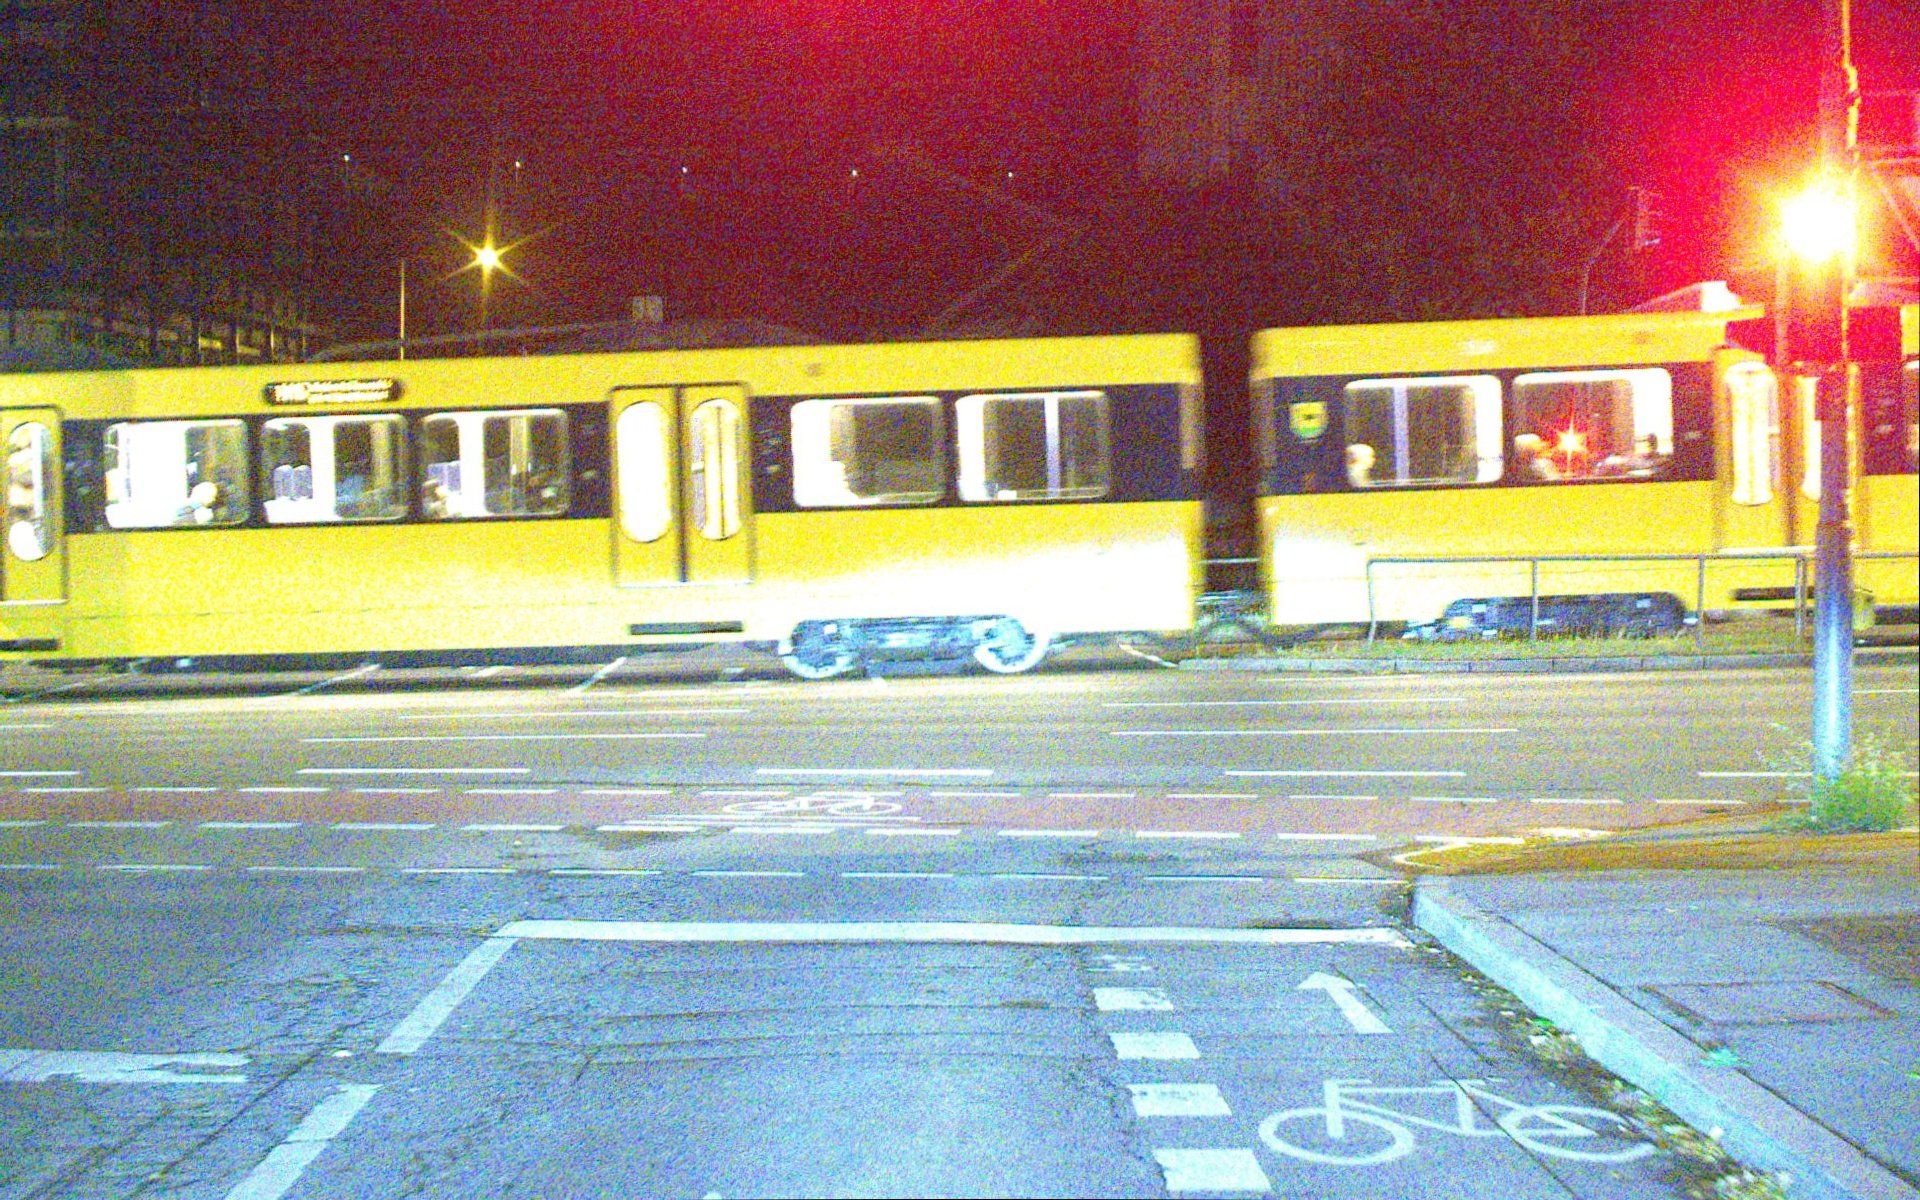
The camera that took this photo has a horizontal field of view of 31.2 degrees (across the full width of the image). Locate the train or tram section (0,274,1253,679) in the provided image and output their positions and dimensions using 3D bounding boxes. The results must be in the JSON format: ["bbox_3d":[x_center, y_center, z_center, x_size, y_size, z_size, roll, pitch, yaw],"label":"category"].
[{"bbox_3d":[-6.832,-1.183,36.870,19.796,3.848,2.940,-1,1,5],"label":"train or tram section"}]

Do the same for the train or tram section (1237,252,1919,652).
[{"bbox_3d":[12.492,-1.607,35.066,19.177,3.810,2.923,-1,1,5],"label":"train or tram section"}]
